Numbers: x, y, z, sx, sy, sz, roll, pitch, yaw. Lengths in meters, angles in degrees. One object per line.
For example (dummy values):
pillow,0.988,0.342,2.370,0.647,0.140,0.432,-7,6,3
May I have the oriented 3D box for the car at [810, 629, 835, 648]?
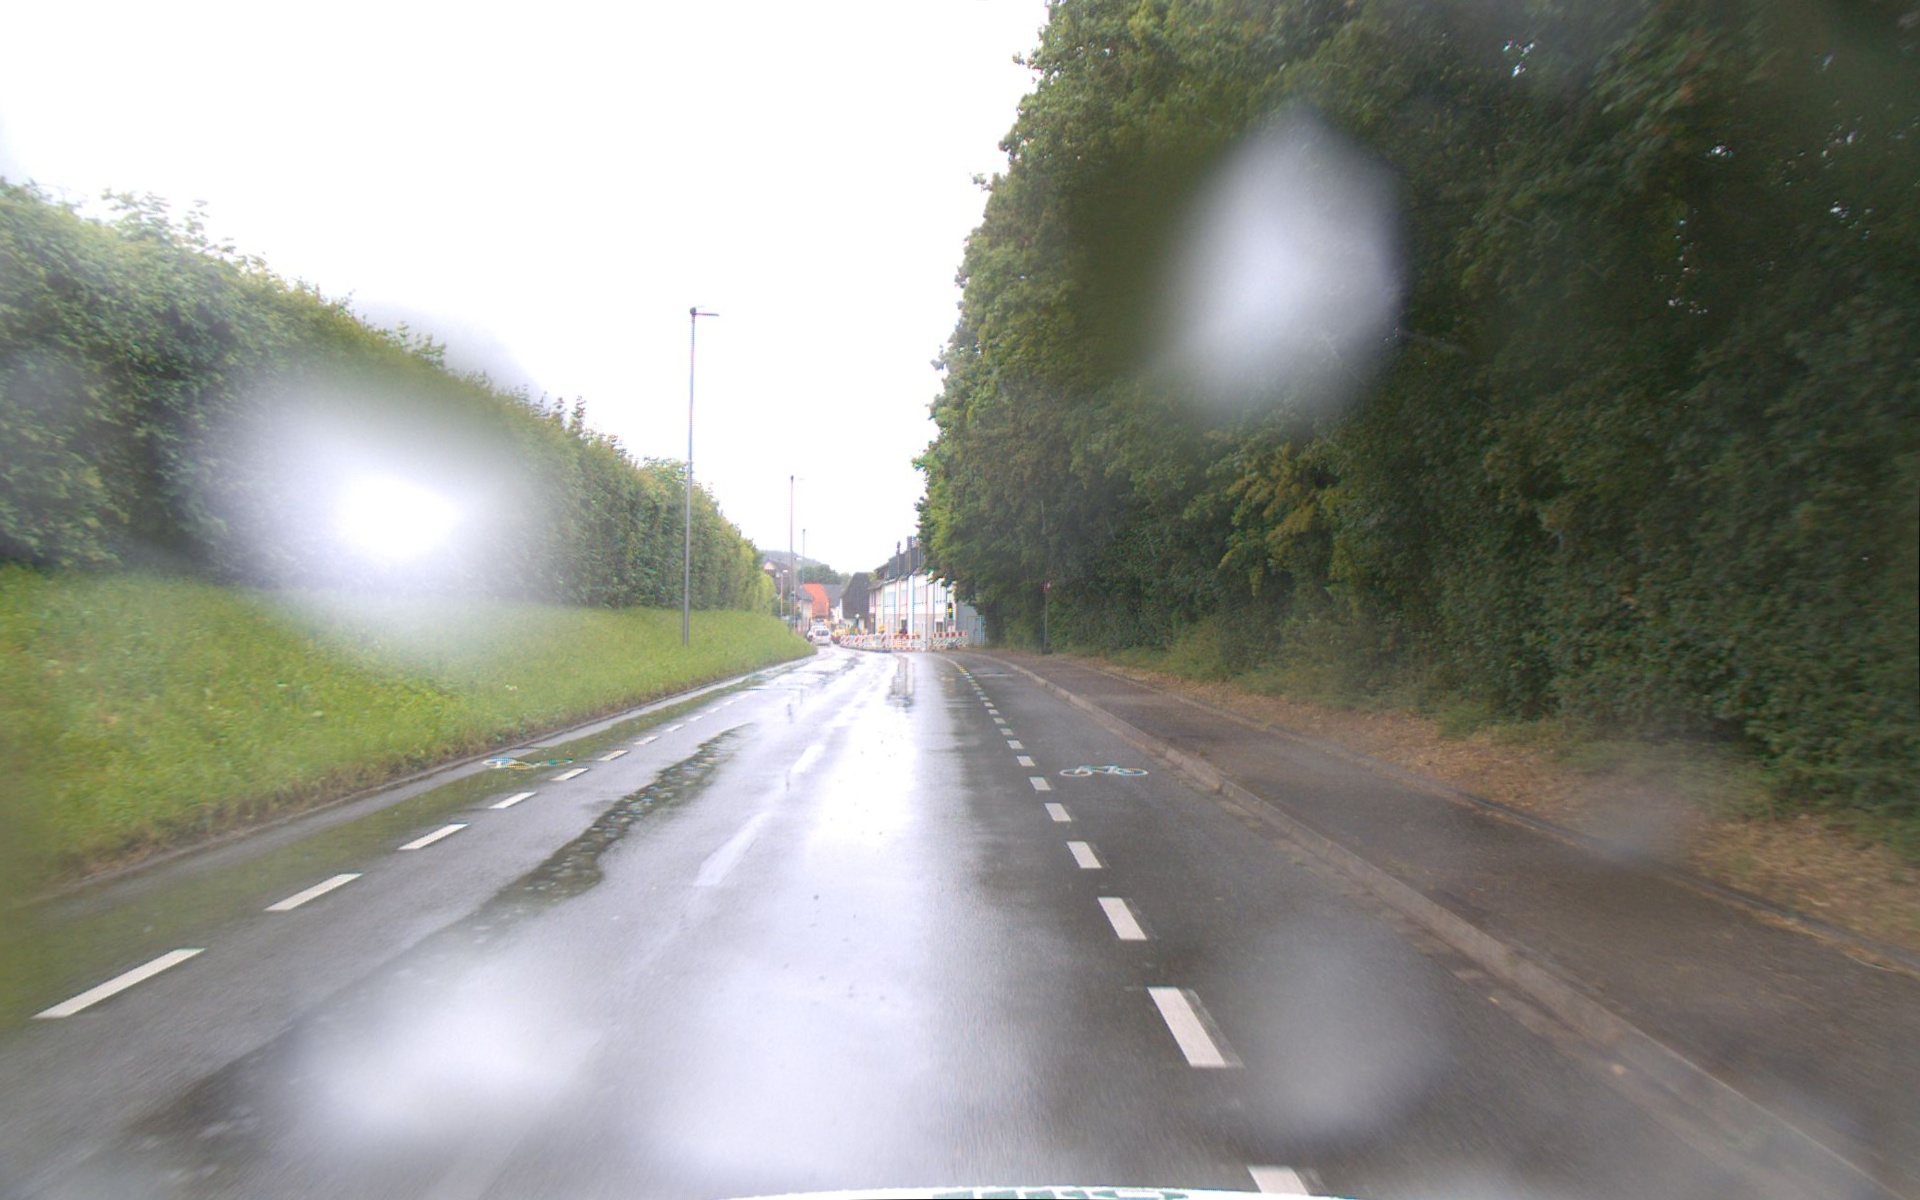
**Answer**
car,-13.478,3.753,161.768,1.958,1.639,3.990,3,0,-11
